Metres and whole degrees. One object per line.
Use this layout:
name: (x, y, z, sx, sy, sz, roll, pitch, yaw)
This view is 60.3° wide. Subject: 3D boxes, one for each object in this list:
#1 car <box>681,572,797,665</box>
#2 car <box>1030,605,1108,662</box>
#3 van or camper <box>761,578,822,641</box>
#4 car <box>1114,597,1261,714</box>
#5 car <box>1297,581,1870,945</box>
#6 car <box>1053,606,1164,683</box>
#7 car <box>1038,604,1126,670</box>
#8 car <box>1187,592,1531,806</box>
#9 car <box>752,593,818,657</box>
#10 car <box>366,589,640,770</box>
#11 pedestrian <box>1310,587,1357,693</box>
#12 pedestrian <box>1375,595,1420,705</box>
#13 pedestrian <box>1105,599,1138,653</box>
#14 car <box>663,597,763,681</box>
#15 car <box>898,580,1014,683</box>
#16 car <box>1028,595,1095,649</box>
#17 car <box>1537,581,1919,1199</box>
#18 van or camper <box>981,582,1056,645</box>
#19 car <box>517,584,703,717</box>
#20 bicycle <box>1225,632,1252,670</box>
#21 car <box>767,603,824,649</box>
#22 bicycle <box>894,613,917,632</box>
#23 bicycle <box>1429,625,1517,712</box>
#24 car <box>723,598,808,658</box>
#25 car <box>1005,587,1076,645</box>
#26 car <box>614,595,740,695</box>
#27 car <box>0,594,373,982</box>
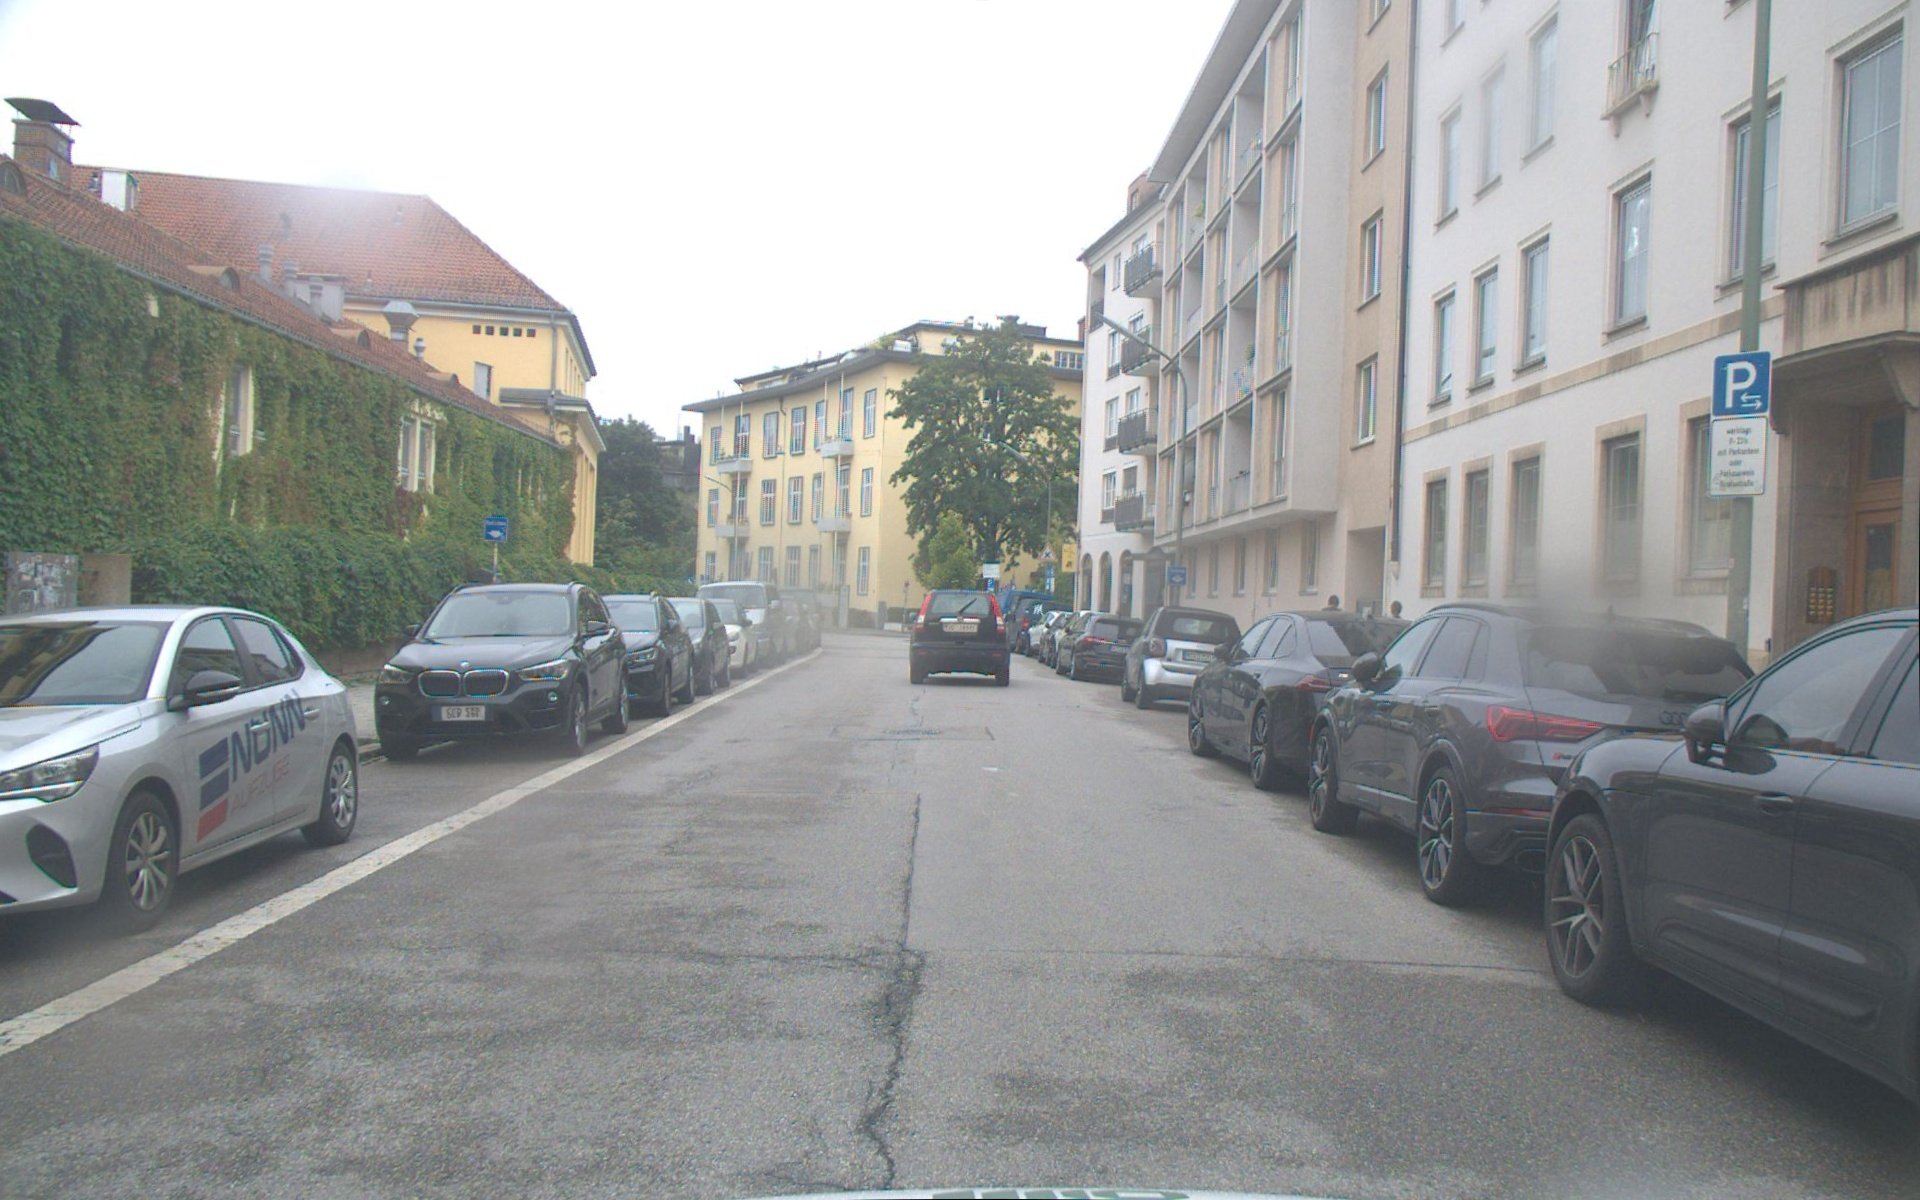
car: (-4.863, 0.381, 36.961, 1.953, 1.908, 4.758, 1, 0, 0)
car: (3.046, 0.913, 46.953, 1.704, 1.525, 4.493, 0, 0, -3)
van or camper: (-5.869, 0.300, 58.055, 1.922, 2.101, 4.750, 1, 0, -3)
car: (3.504, 0.811, 26.111, 1.638, 1.561, 3.880, 5, 0, -1)
car: (3.396, 0.767, 9.982, 1.742, 1.612, 4.271, 4, 0, 0)
car: (3.166, 0.915, 36.093, 1.760, 1.445, 4.480, 4, 0, -3)
car: (3.044, 0.897, 42.019, 1.704, 1.525, 4.217, 2, 0, -3)
car: (3.356, 0.741, 14.938, 1.818, 1.571, 4.815, 1, 0, -1)
car: (-5.033, 0.676, 47.898, 1.587, 1.760, 4.423, 1, 0, -2)
car: (-4.344, 0.675, 16.373, 1.746, 1.565, 4.192, 0, 0, -3)
pedestrian: (6.014, 0.635, 26.665, 0.584, 1.683, 0.630, 1, 0, -1)
pedestrian: (6.521, 0.736, 24.667, 0.520, 1.612, 0.560, 0, 0, -1)
pedestrian: (5.271, 0.836, 54.037, 0.880, 1.717, 1.319, 1, -1, -3)
car: (-4.723, 0.708, 31.995, 1.547, 1.518, 3.728, 1, 0, -3)
car: (-0.038, 0.533, 30.498, 1.954, 1.724, 4.380, 1, 0, 1)
car: (3.148, 0.660, 52.063, 1.704, 1.564, 4.272, 1, 0, -2)
car: (3.376, 0.808, 4.959, 1.742, 1.612, 4.330, 4, 0, 1)
van or camper: (2.187, 0.491, 63.359, 2.021, 2.270, 5.430, 1, 0, -7)
car: (-4.477, 0.593, 21.709, 1.746, 1.565, 4.146, 1, 0, -3)
bicycle: (7.262, 1.319, 43.205, 0.435, 0.952, 1.401, 1, 0, -1)
car: (-5.276, 0.799, 53.401, 1.587, 1.402, 4.070, 0, 0, -2)
bicycle: (-3.377, 1.404, 102.819, 0.600, 1.091, 2.200, 1, 0, -24)
bicycle: (7.575, 0.988, 24.507, 0.645, 1.183, 2.028, 1, 0, -1)
car: (-4.959, 0.689, 42.692, 1.666, 1.447, 4.424, 1, 0, 0)
car: (2.743, 0.520, 57.528, 1.925, 1.848, 4.932, 1, 0, -3)
car: (-4.506, 0.669, 26.774, 1.547, 1.481, 3.902, 1, 0, -3)
car: (-4.318, 0.706, 8.124, 1.646, 1.451, 3.892, -1, 0, -3)
